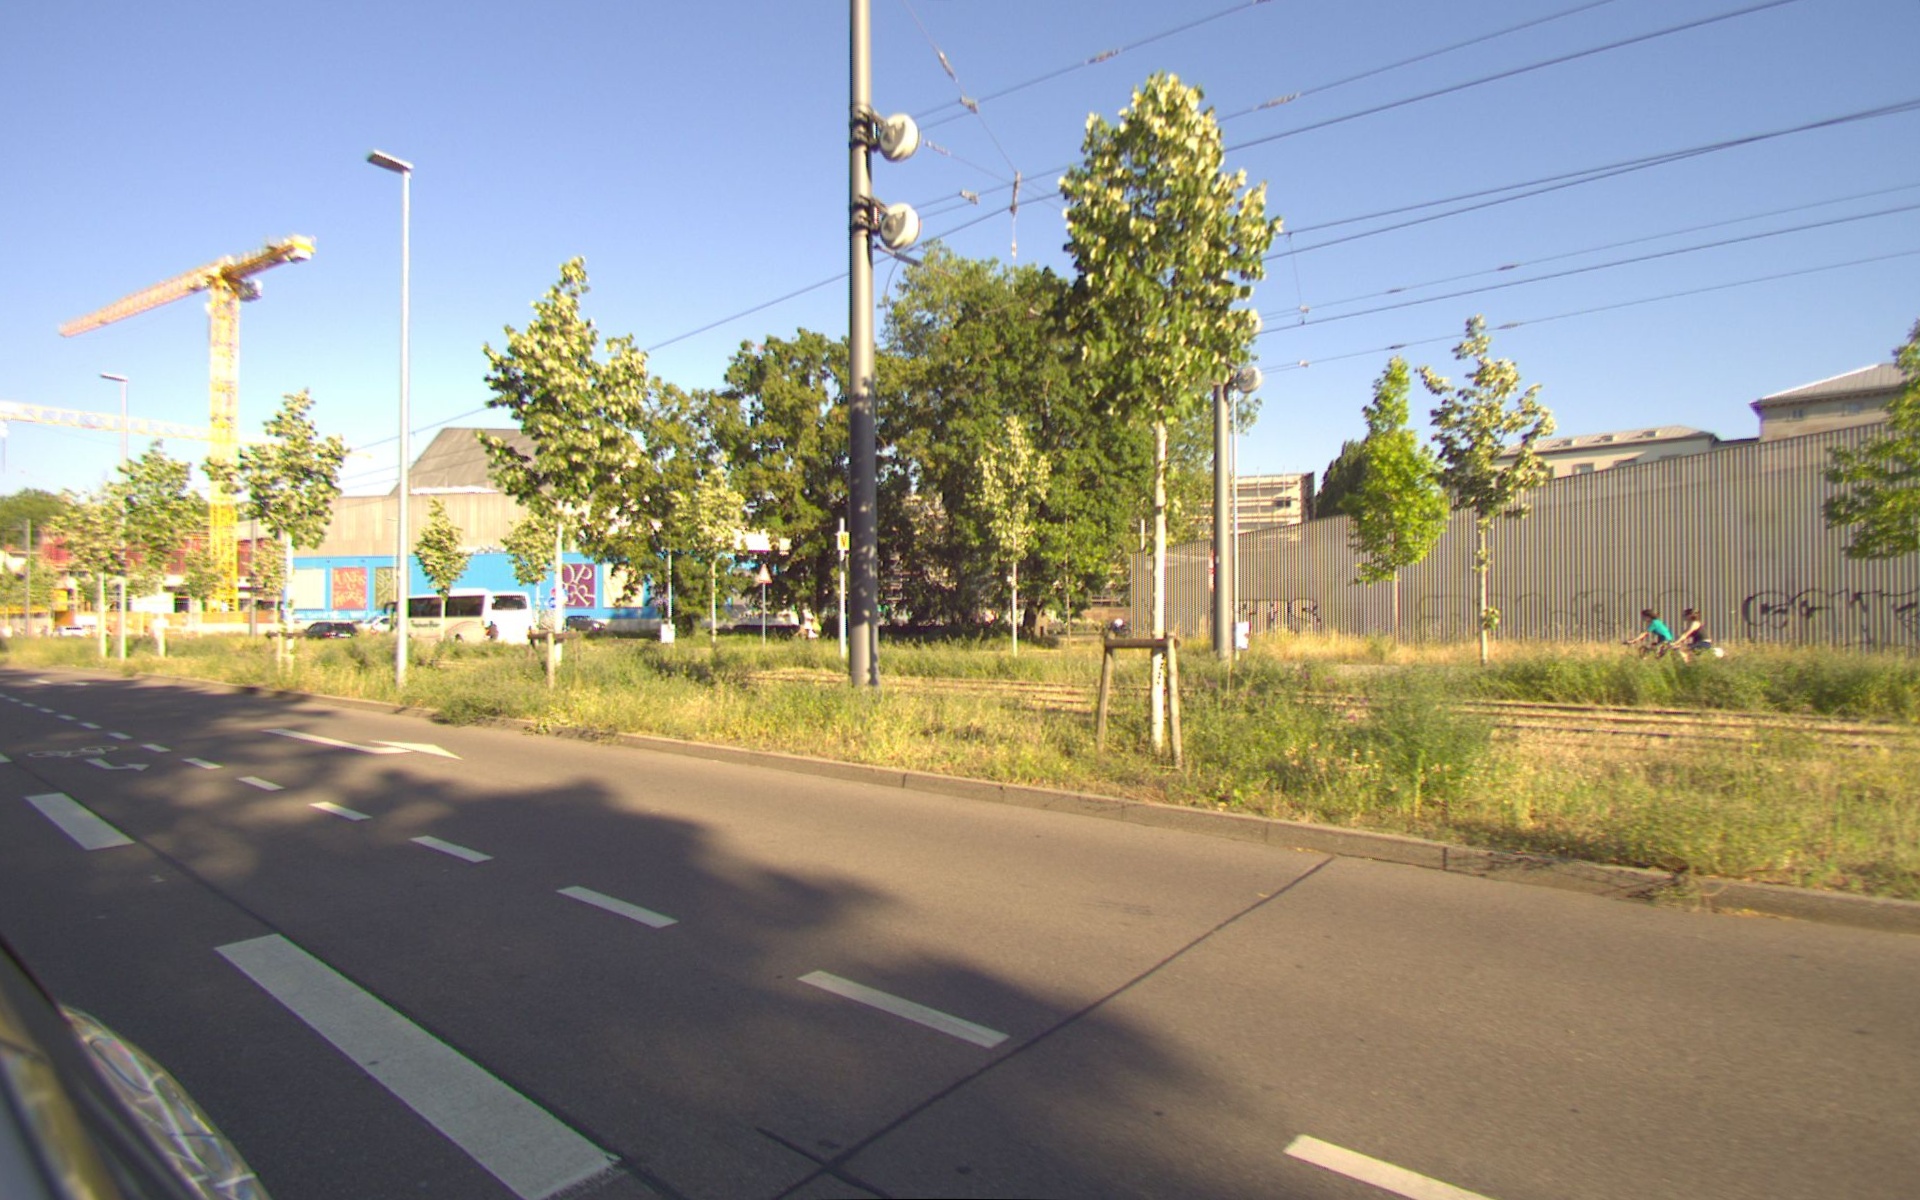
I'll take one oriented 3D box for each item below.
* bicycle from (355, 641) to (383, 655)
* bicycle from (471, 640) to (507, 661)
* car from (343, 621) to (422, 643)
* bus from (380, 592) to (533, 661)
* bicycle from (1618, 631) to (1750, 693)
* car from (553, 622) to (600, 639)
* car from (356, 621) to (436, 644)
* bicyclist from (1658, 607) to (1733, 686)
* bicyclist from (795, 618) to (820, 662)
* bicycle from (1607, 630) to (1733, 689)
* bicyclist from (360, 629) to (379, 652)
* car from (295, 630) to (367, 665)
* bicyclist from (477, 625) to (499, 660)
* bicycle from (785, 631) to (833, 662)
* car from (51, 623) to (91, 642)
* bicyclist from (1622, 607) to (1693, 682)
[{"bbox_3d":[-34.501,2.809,59.081,2.142,0.810,0.681,-2,-2,39],"label":"bicycle"},{"bbox_3d":[-23.400,2.510,50.271,2.359,1.010,0.680,-2,-2,40],"label":"bicycle"},{"bbox_3d":[-47.219,2.595,82.835,2.121,1.730,5.178,-2,-2,37],"label":"car"},{"bbox_3d":[-28.941,1.533,57.741,12.682,3.622,2.772,-2,-2,39],"label":"bus"},{"bbox_3d":[13.798,1.164,19.340,1.986,1.113,0.577,-2,-2,41],"label":"bicycle"},{"bbox_3d":[-37.290,2.952,98.455,4.183,1.648,1.406,-1,-1,14],"label":"car"},{"bbox_3d":[-45.098,2.593,81.040,2.121,1.730,5.178,-2,-2,37],"label":"car"},{"bbox_3d":[13.946,0.863,19.186,1.075,1.453,0.577,-2,-2,41],"label":"bicyclist"},{"bbox_3d":[-5.383,1.412,35.766,0.667,1.518,0.551,-2,-2,40],"label":"bicyclist"},{"bbox_3d":[14.046,1.154,20.062,1.986,1.113,0.577,-2,-2,41],"label":"bicycle"},{"bbox_3d":[-34.457,2.349,59.051,0.870,1.357,0.681,-2,-2,38],"label":"bicyclist"},{"bbox_3d":[-34.038,2.539,54.732,4.808,1.779,1.852,-2,-2,39],"label":"car"},{"bbox_3d":[-23.522,2.100,50.400,0.953,1.721,0.680,-2,-2,40],"label":"bicyclist"},{"bbox_3d":[-5.341,1.635,35.735,1.897,1.068,0.553,-2,-2,41],"label":"bicycle"},{"bbox_3d":[-80.808,2.962,91.979,4.161,1.655,1.975,-2,-2,38],"label":"car"},{"bbox_3d":[13.917,0.870,20.196,1.075,1.453,0.577,-2,-2,41],"label":"bicyclist"}]
